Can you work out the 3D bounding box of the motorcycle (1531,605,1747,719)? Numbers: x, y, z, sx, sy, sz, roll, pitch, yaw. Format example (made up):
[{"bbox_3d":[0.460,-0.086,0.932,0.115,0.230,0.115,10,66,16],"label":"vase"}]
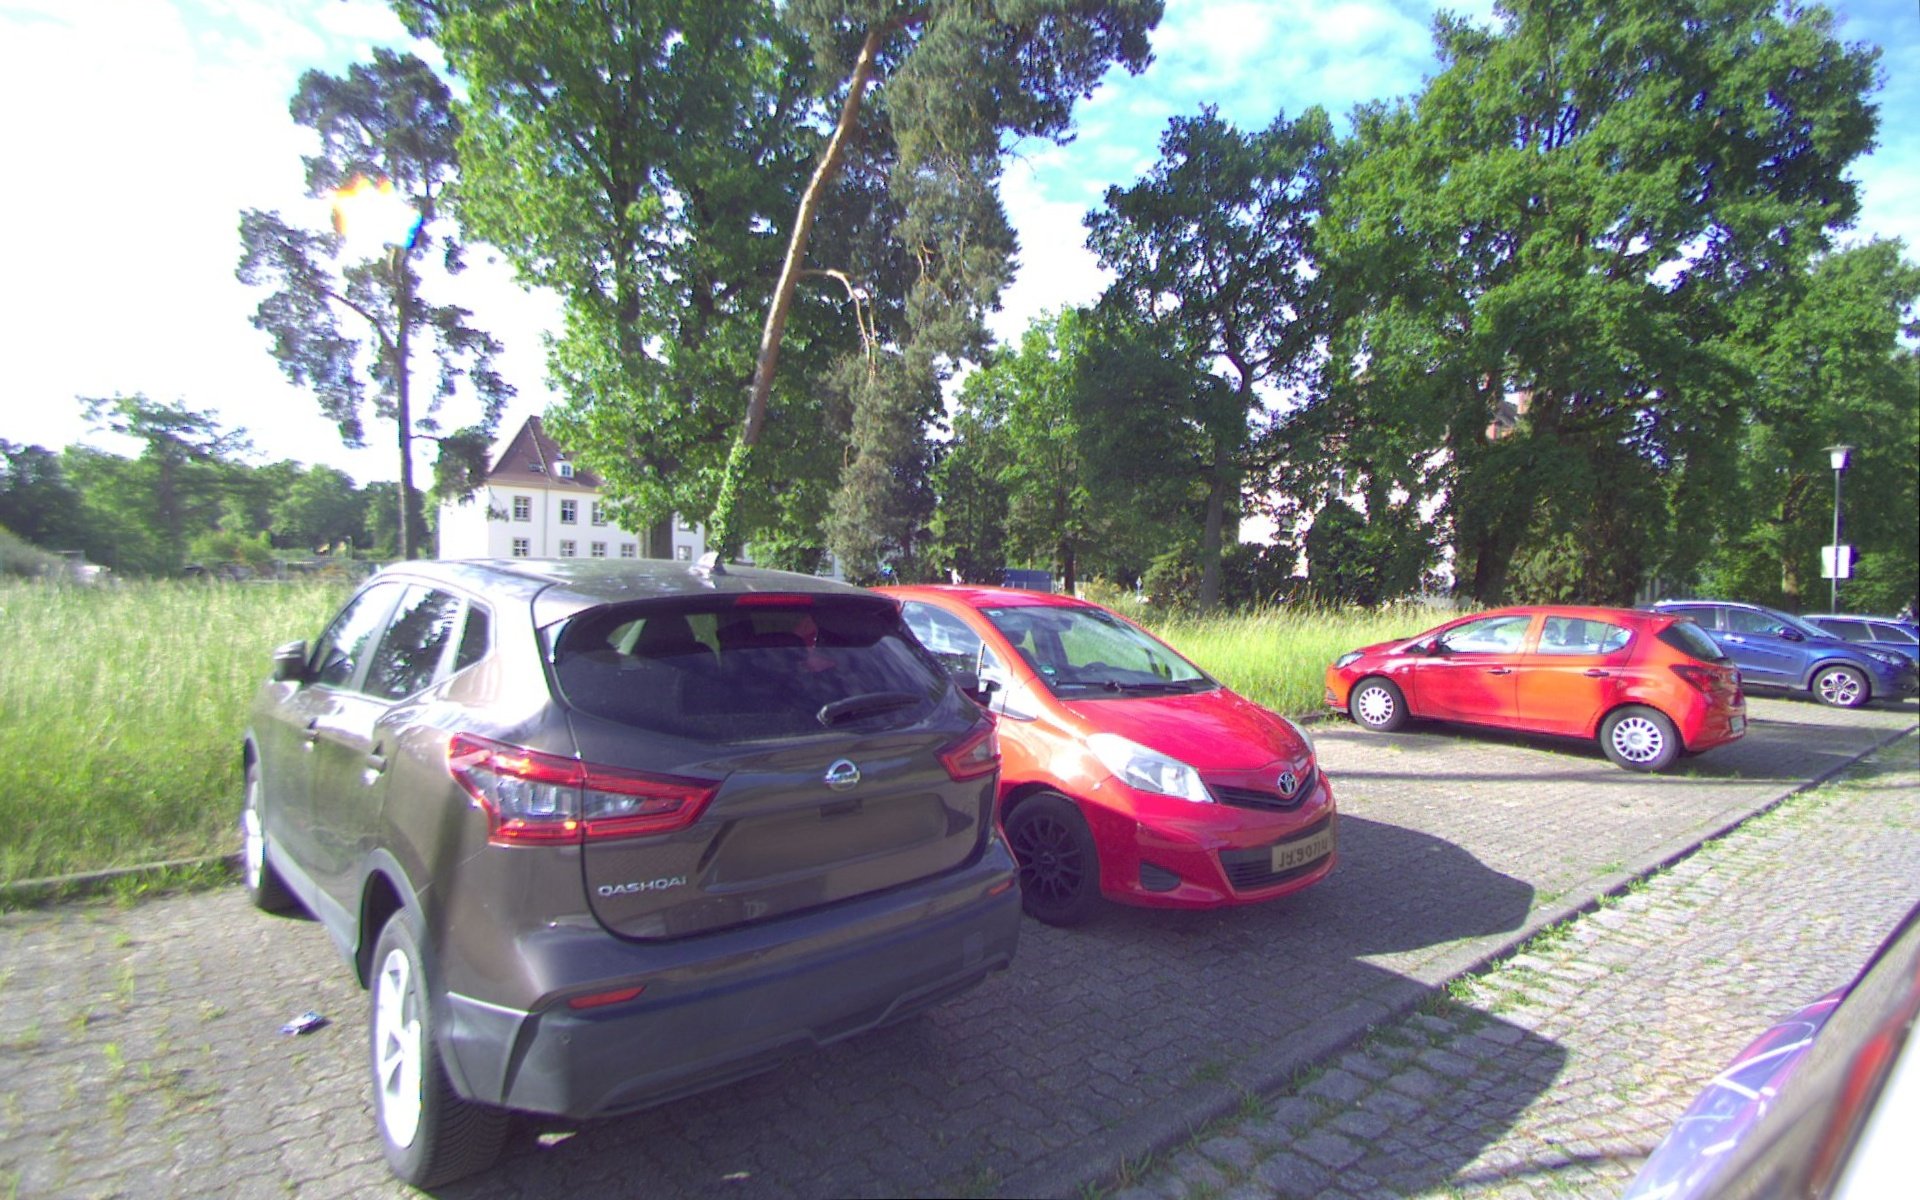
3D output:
[{"bbox_3d":[9.217,0.788,13.840,0.713,1.336,2.304,1,2,-40],"label":"motorcycle"}]

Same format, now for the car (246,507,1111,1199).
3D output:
[{"bbox_3d":[-1.499,0.592,4.003,1.741,1.642,3.943,1,1,-41],"label":"car"}]

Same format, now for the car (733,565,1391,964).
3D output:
[{"bbox_3d":[0.294,0.599,5.928,1.616,1.549,3.771,1,1,-40],"label":"car"}]

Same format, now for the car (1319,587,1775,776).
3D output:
[{"bbox_3d":[6.008,0.691,10.712,1.617,1.497,3.834,1,2,-41],"label":"car"}]

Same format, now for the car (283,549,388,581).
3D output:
[{"bbox_3d":[-44.192,-2.434,71.749,5.892,2.198,2.379,0,1,-7],"label":"car"}]

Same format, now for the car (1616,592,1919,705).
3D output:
[{"bbox_3d":[13.810,0.725,17.161,1.720,1.611,4.185,1,1,-40],"label":"car"}]

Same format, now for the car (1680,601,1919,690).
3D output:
[{"bbox_3d":[17.341,0.867,20.246,1.682,1.425,4.463,1,2,-37],"label":"car"}]
